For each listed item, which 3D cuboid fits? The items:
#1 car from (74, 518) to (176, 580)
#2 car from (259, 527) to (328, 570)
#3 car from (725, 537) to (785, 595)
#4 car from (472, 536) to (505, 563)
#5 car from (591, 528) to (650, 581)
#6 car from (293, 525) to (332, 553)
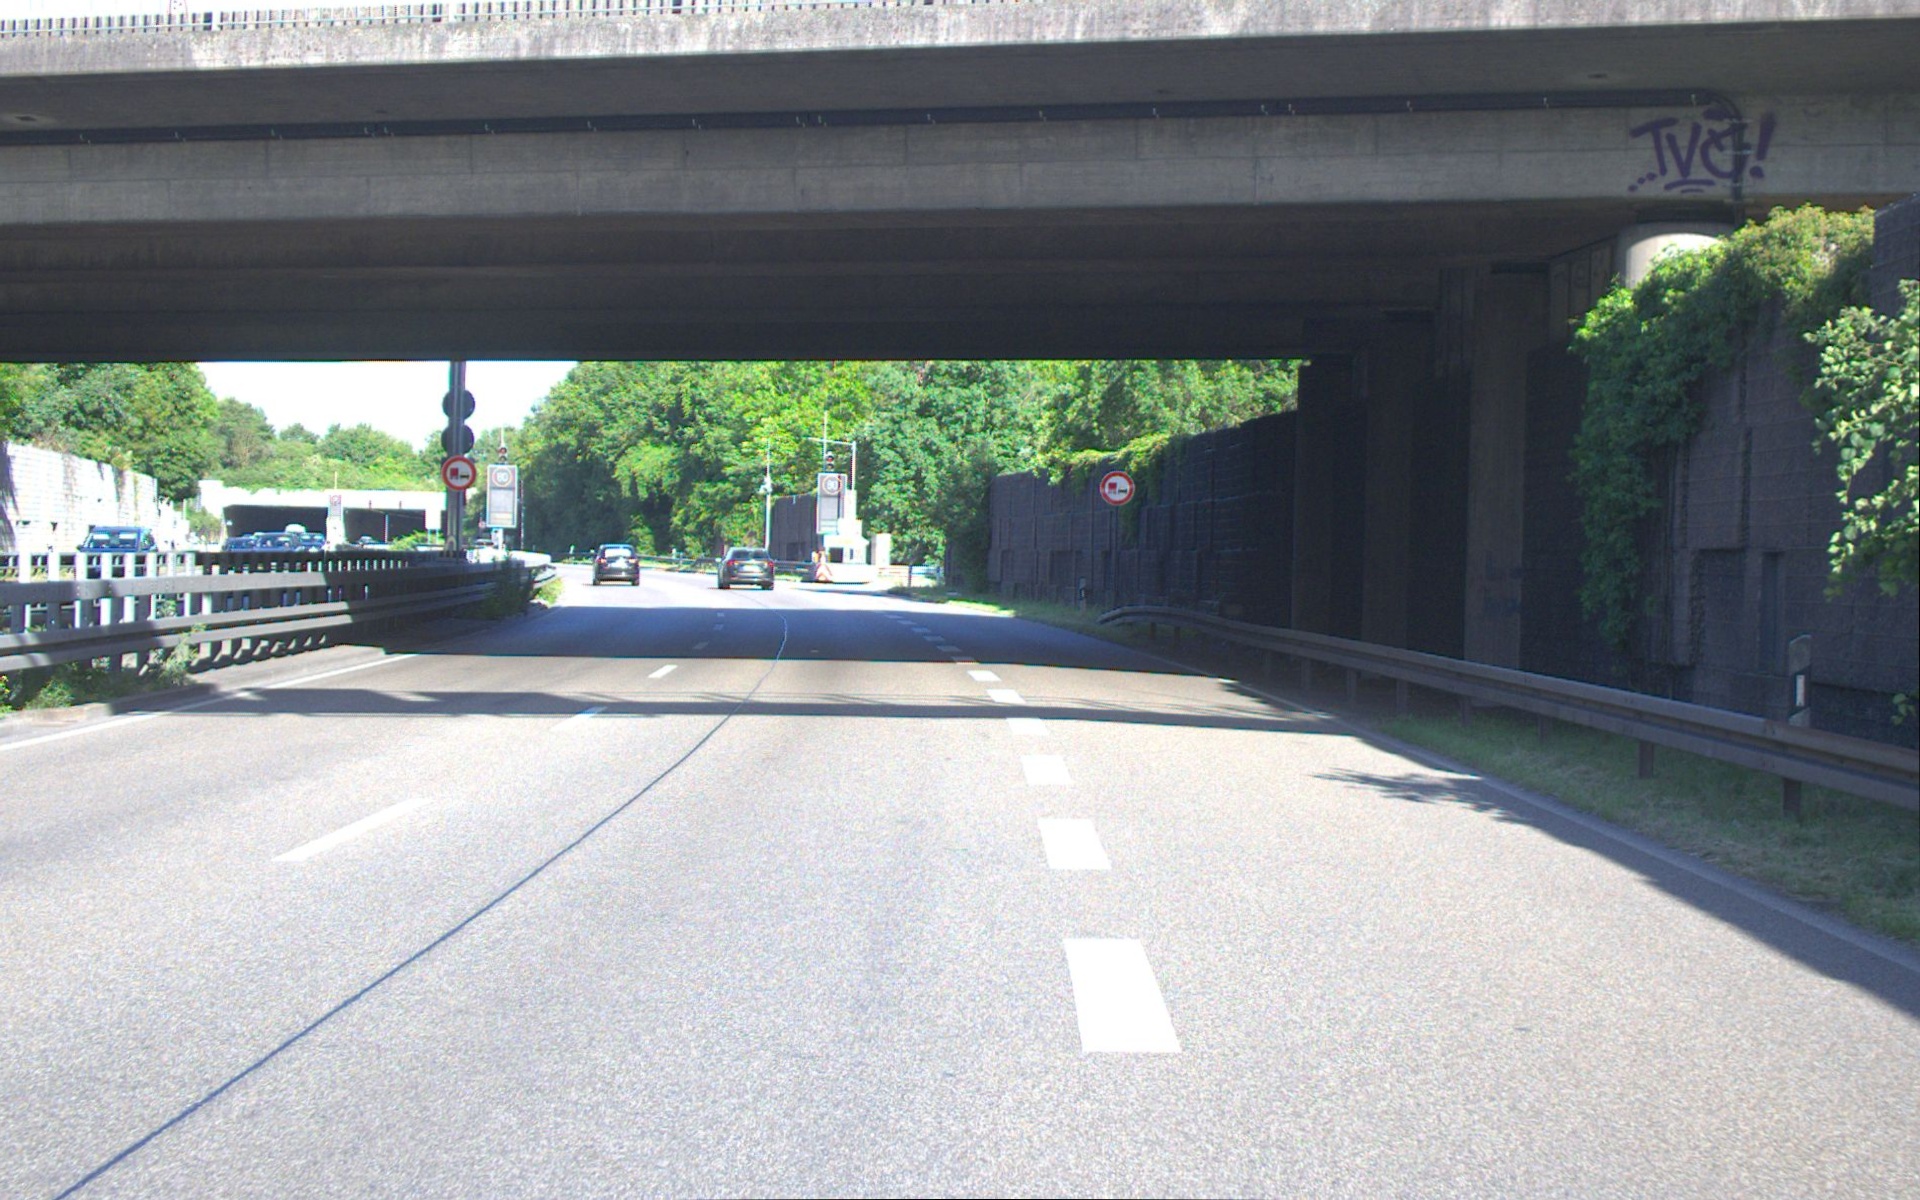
[{"bbox_3d":[-23.660,-1.475,97.564,1.993,1.700,4.562,0,1,-3],"label":"car"},{"bbox_3d":[-25.729,-2.014,132.859,1.993,1.590,4.428,2,1,-3],"label":"car"},{"bbox_3d":[-7.142,-1.204,120.220,1.993,1.919,4.001,2,1,-3],"label":"car"},{"bbox_3d":[-35.513,-3.788,258.966,1.993,1.919,4.001,2,1,-14],"label":"car"},{"bbox_3d":[-13.010,-1.756,131.873,1.993,1.919,4.001,2,1,-3],"label":"car"},{"bbox_3d":[-39.352,-3.735,208.940,1.897,1.568,4.809,3,1,-7],"label":"car"}]
